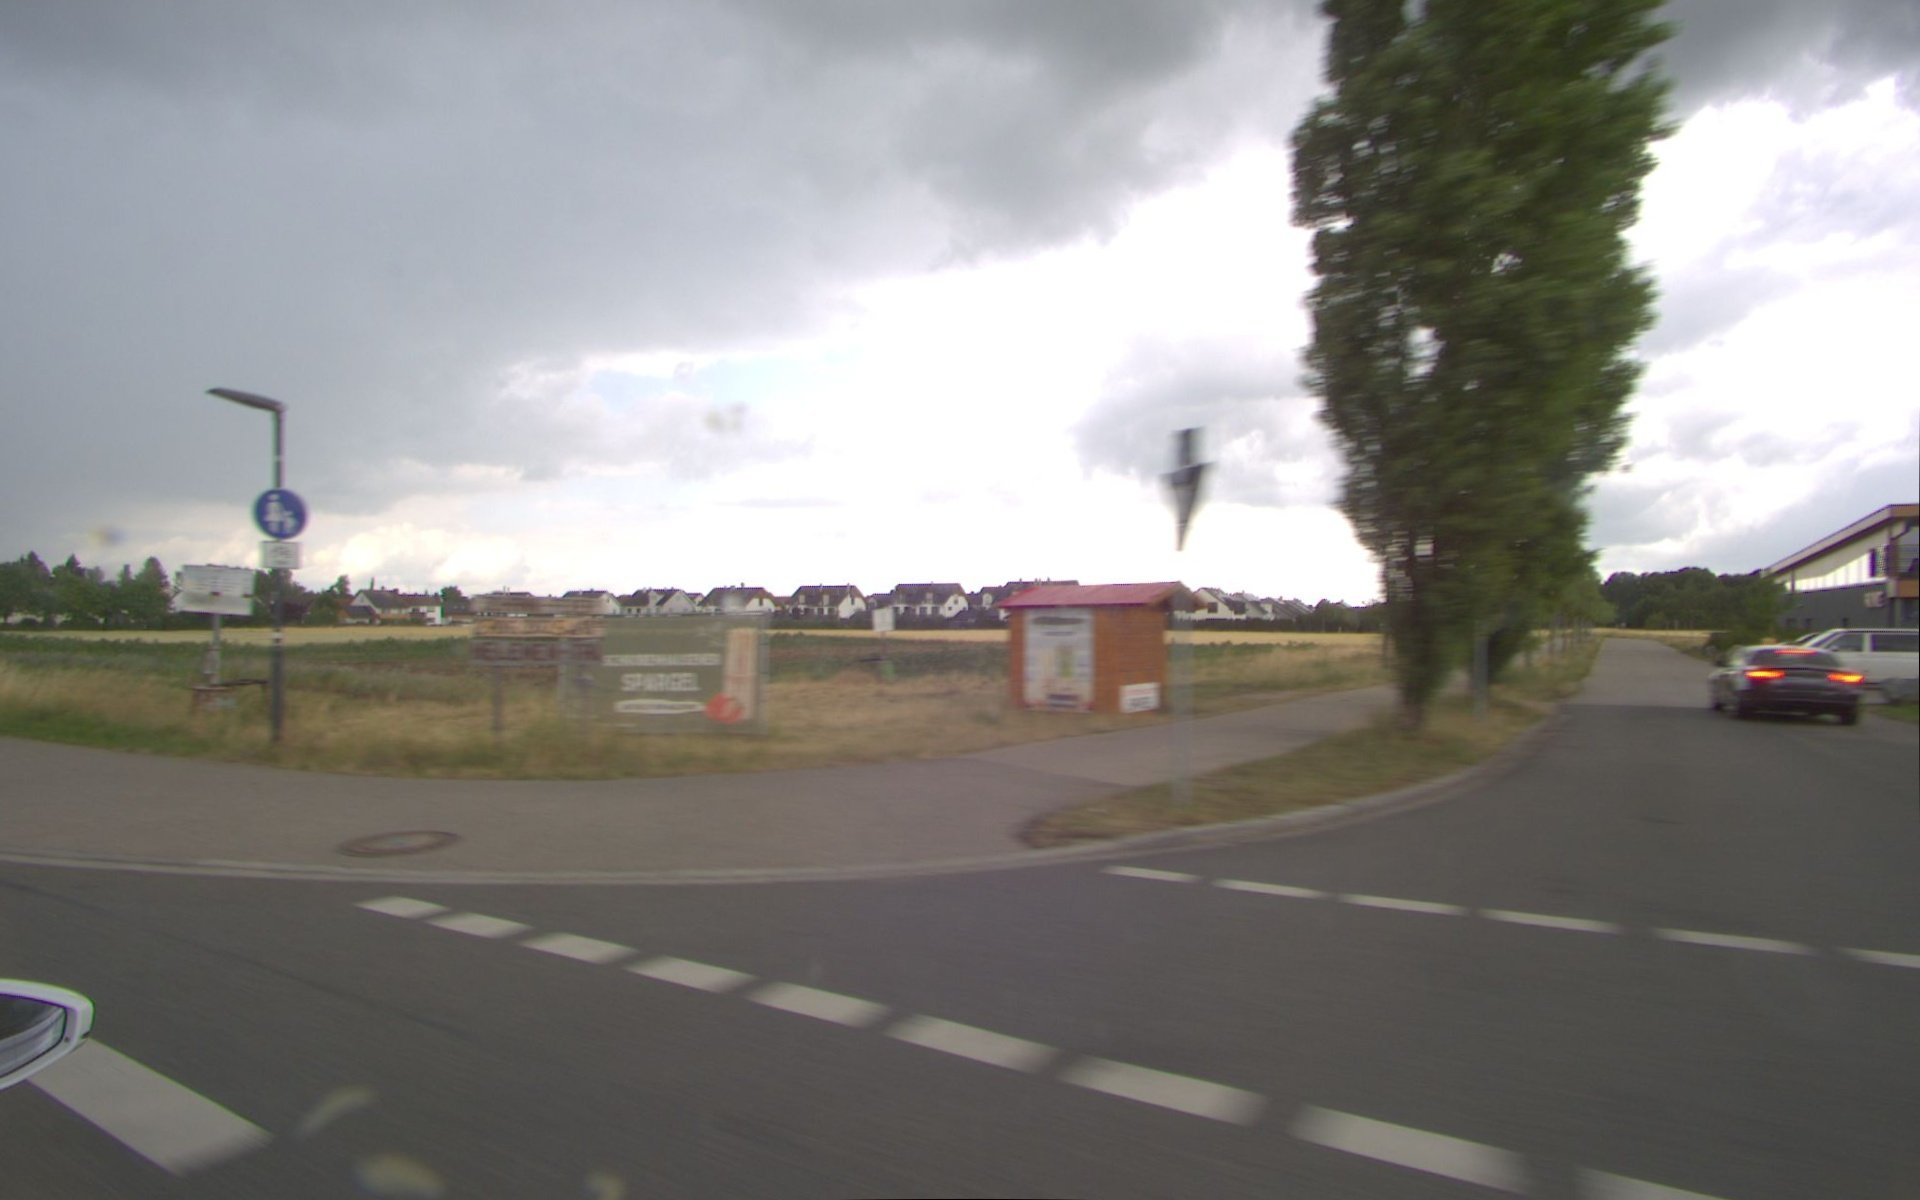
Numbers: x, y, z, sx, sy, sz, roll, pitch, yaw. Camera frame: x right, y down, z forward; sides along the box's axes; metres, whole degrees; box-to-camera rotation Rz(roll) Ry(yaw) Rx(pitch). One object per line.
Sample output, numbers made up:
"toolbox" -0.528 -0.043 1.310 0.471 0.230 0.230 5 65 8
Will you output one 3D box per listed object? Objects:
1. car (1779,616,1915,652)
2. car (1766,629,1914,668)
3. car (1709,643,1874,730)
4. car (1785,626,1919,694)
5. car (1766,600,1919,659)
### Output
"car" 38.492 1.431 43.591 4.140 1.429 1.989 0 1 33
"car" 35.129 1.894 40.132 4.196 1.367 1.828 0 1 33
"car" 15.814 1.570 19.278 1.805 1.406 4.367 0 -2 31
"car" 30.142 1.921 32.327 5.159 2.041 1.989 0 1 33
"car" 32.075 1.024 36.302 4.226 2.041 1.989 0 1 33
